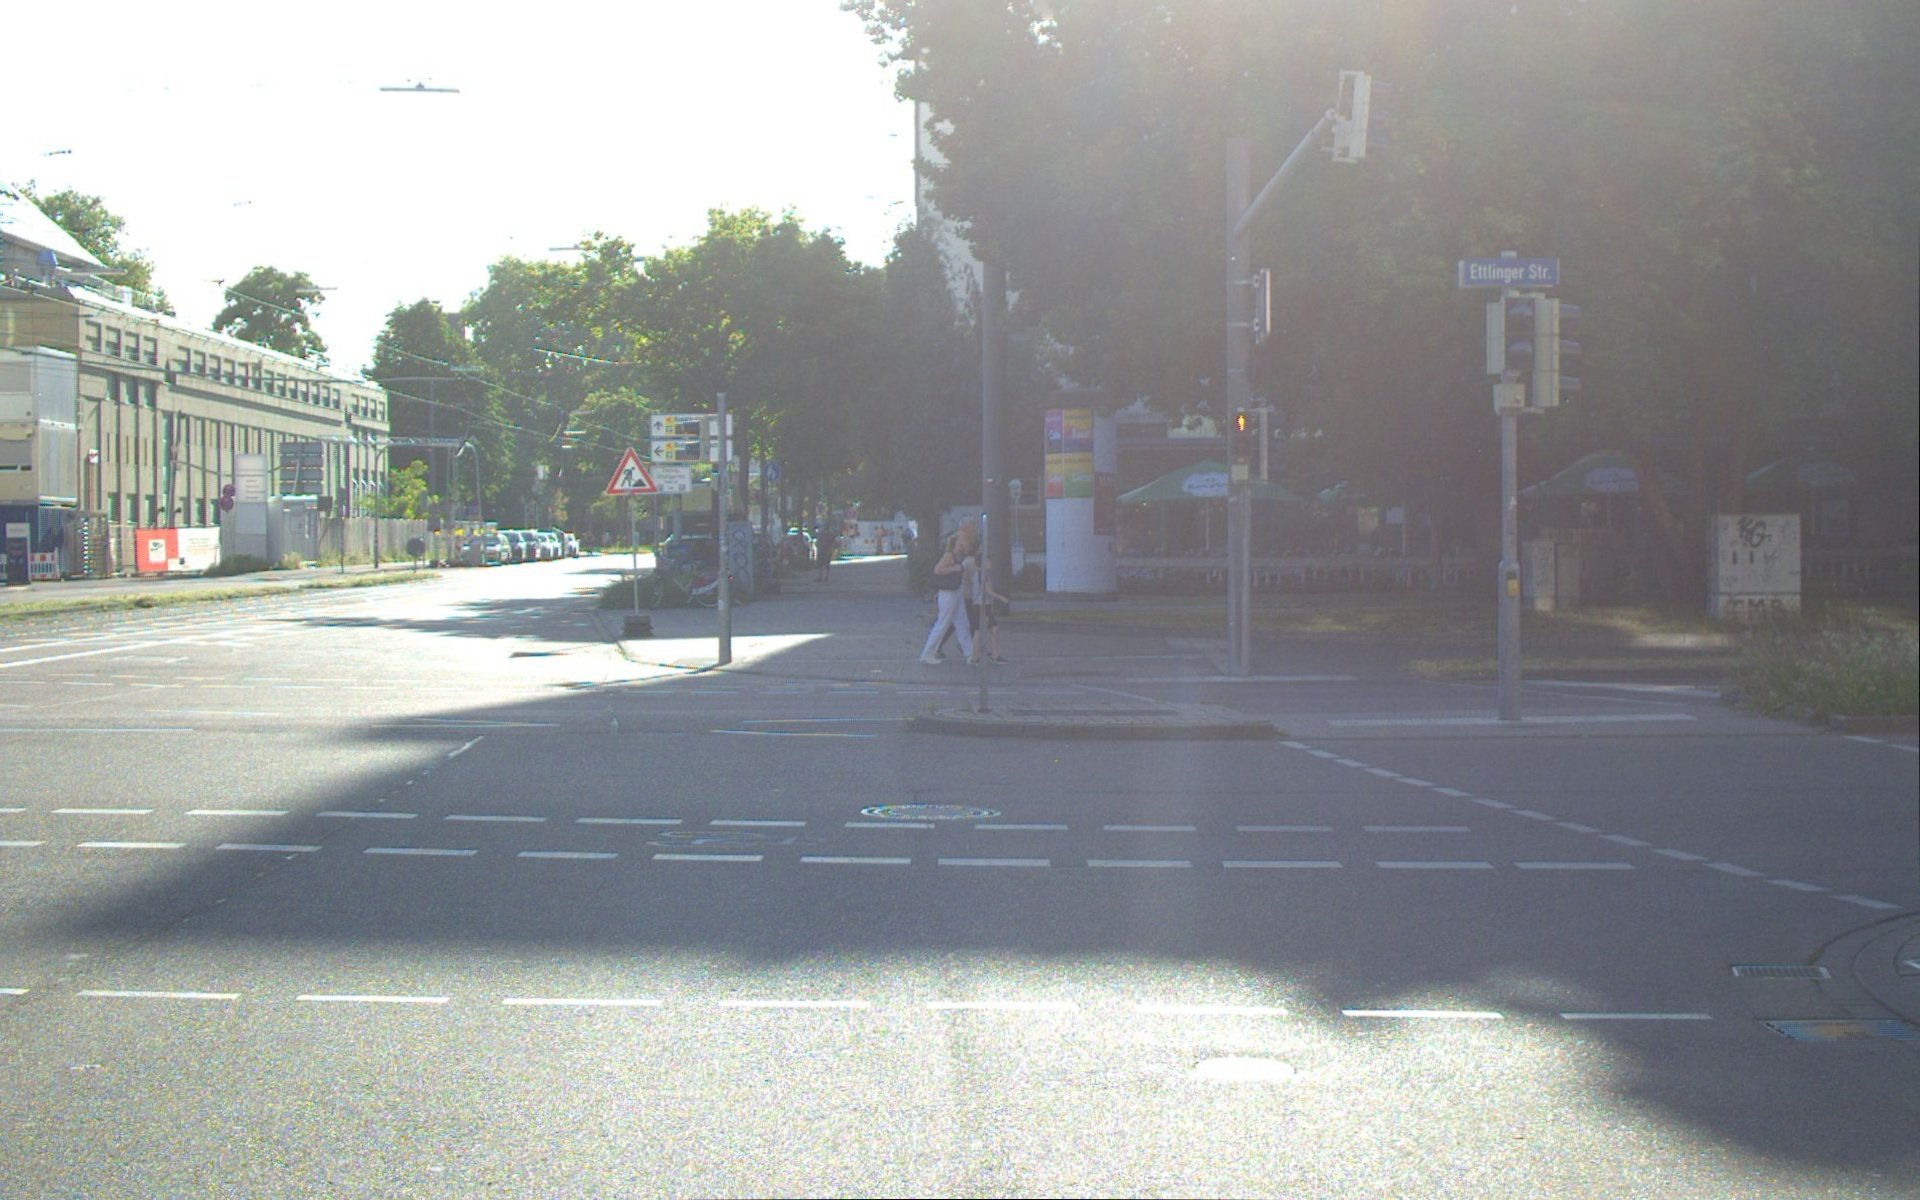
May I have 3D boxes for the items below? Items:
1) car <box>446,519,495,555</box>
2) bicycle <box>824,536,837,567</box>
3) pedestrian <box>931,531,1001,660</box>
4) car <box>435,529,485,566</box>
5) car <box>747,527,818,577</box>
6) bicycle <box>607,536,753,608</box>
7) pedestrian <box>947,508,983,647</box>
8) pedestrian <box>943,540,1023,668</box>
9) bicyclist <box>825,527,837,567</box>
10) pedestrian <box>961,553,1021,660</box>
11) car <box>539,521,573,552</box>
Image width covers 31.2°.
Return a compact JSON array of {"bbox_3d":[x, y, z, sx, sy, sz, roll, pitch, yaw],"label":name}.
[{"bbox_3d":[-22.768,-2.917,160.087,1.731,1.647,4.000,0,1,-1],"label":"car"},{"bbox_3d":[-3.686,-1.383,98.256,0.324,0.865,1.483,-1,1,-1],"label":"bicycle"},{"bbox_3d":[0.077,-0.059,43.957,0.796,1.634,0.533,0,1,11],"label":"pedestrian"},{"bbox_3d":[-22.824,-2.411,156.972,1.731,1.647,4.000,0,1,-1],"label":"car"},{"bbox_3d":[-4.640,-1.261,90.304,1.819,1.274,4.001,0,1,-3],"label":"car"},{"bbox_3d":[-5.463,-0.552,67.140,2.748,1.363,0.630,1,0,11],"label":"bicycle"},{"bbox_3d":[0.065,-0.290,44.772,0.361,1.798,0.506,0,1,11],"label":"pedestrian"},{"bbox_3d":[0.290,0.047,43.264,0.984,1.582,0.660,0,0,1],"label":"pedestrian"},{"bbox_3d":[-3.694,-1.519,98.302,0.318,1.123,0.291,-1,1,-1],"label":"bicyclist"},{"bbox_3d":[0.395,0.077,43.598,0.752,1.328,0.742,0,1,1],"label":"pedestrian"},{"bbox_3d":[-22.819,-3.580,194.285,1.483,1.744,4.000,-1,1,-1],"label":"car"}]
